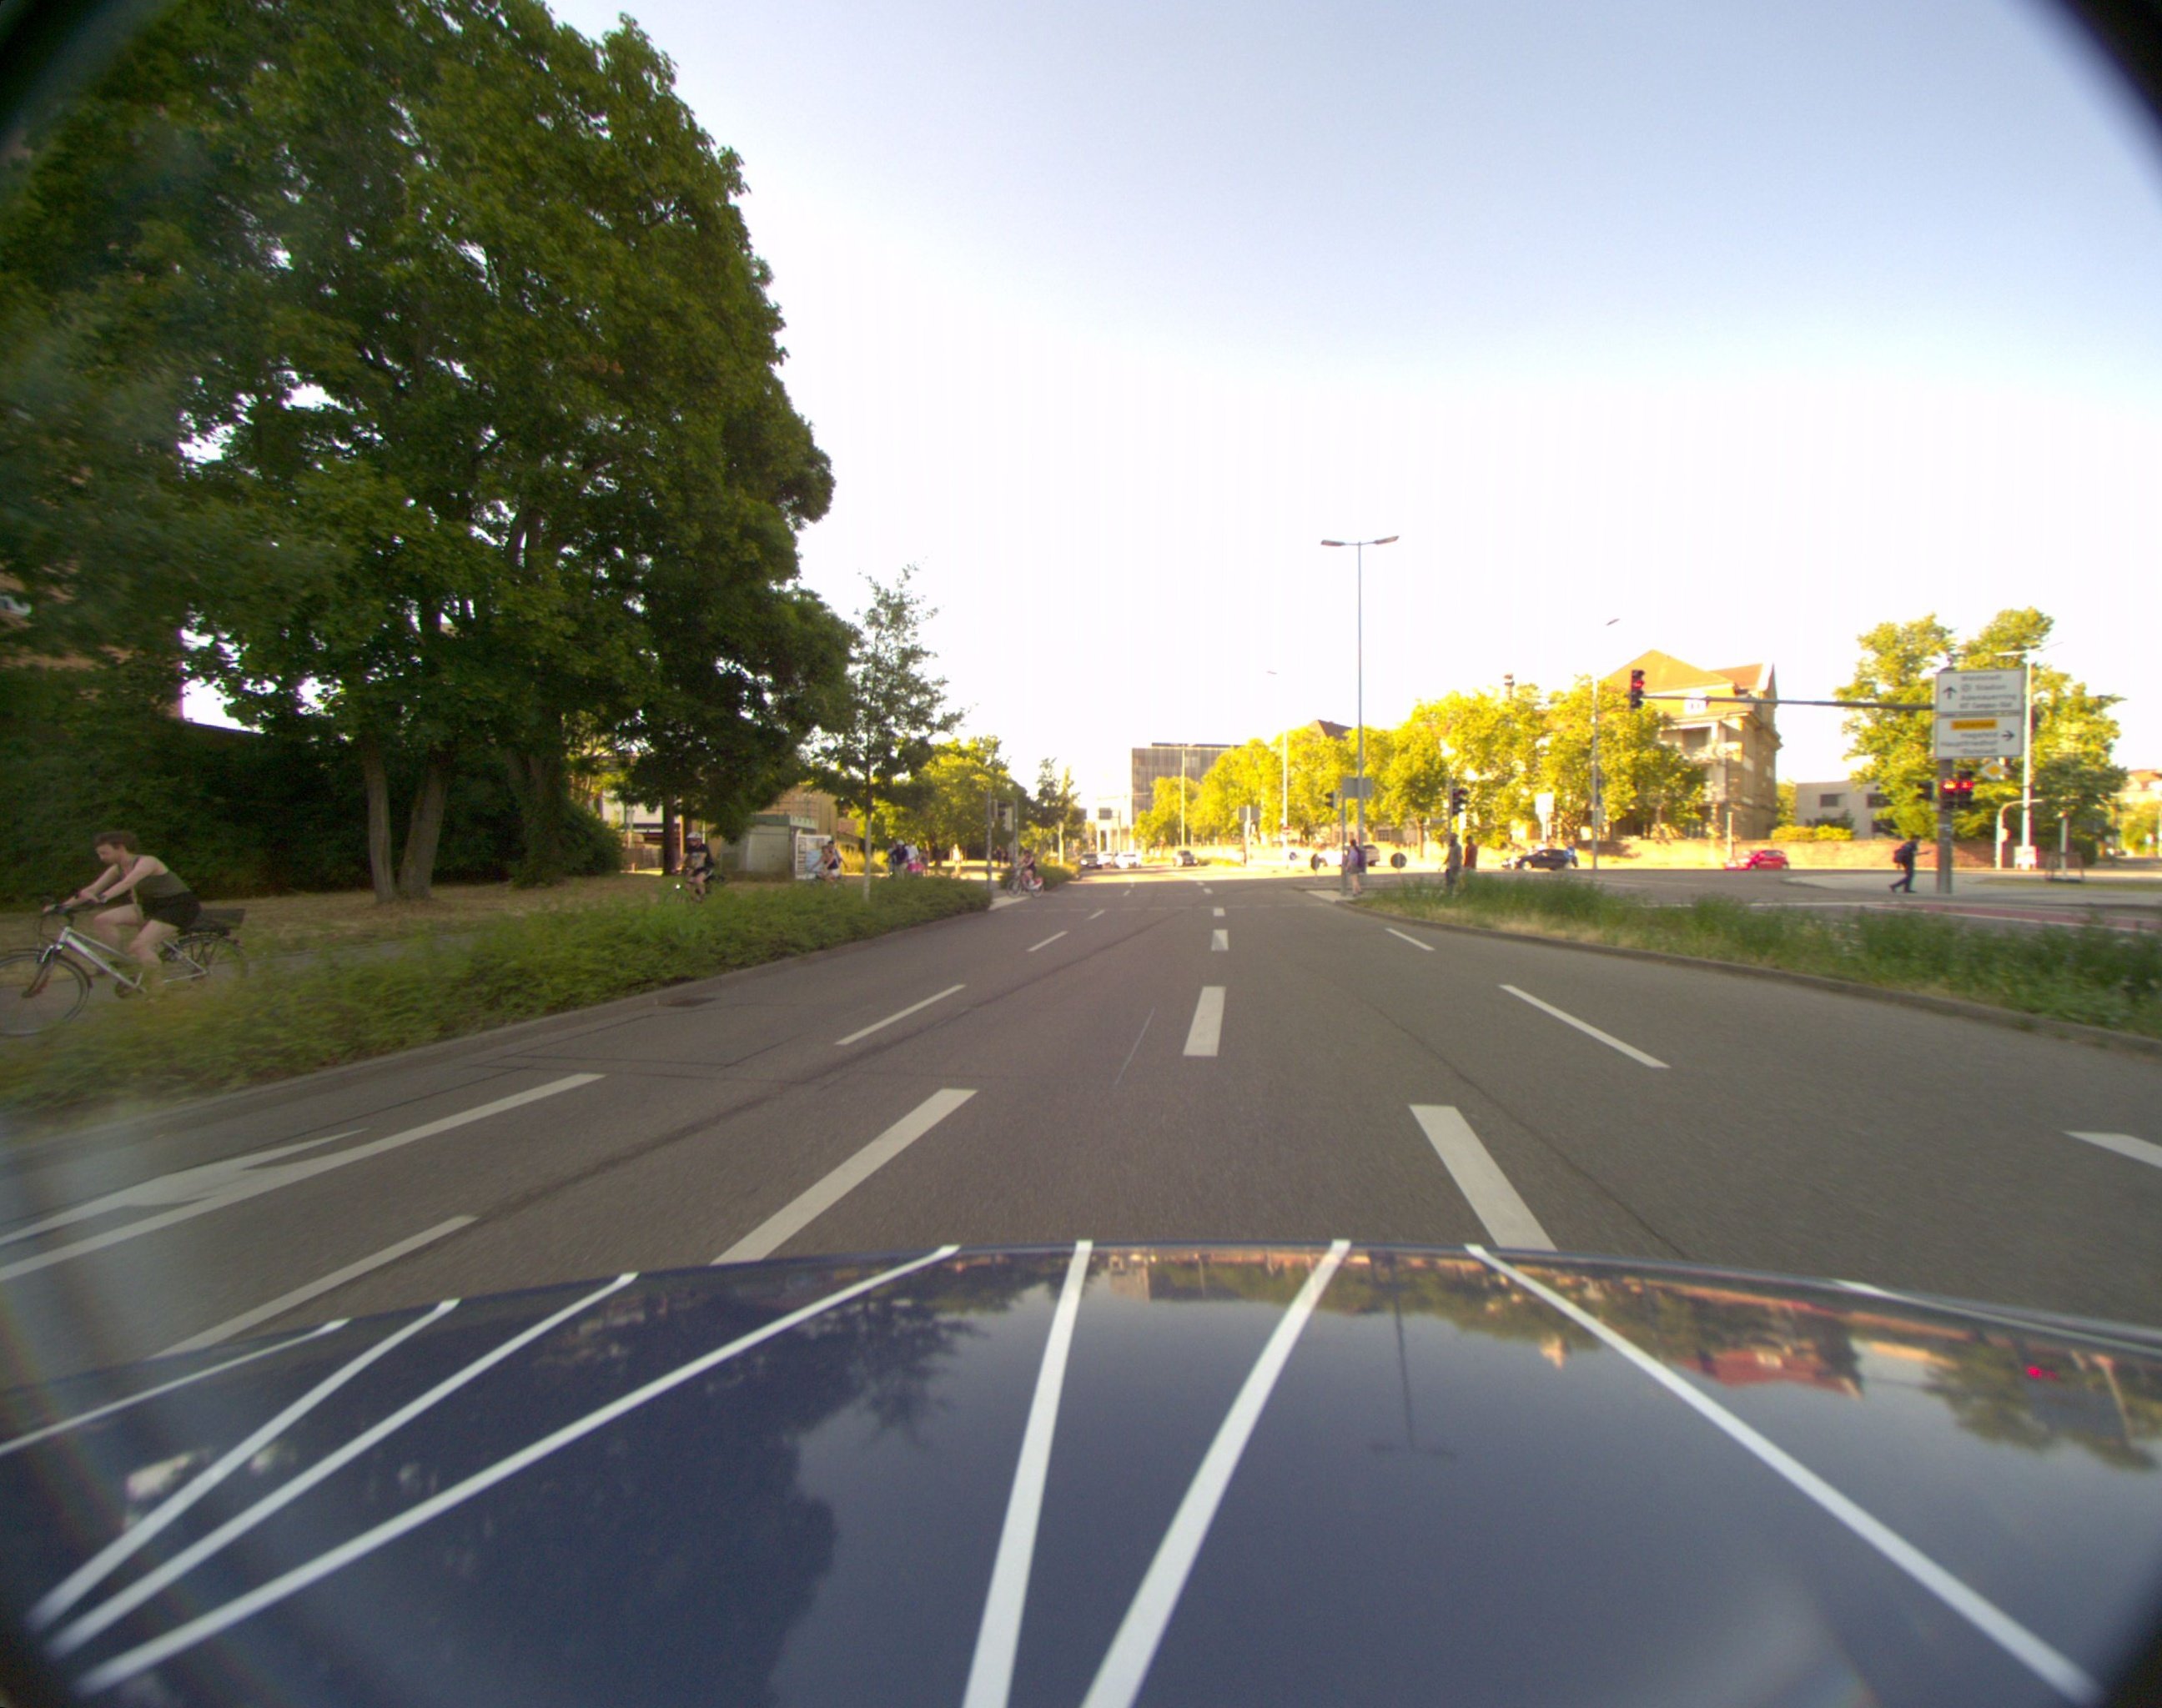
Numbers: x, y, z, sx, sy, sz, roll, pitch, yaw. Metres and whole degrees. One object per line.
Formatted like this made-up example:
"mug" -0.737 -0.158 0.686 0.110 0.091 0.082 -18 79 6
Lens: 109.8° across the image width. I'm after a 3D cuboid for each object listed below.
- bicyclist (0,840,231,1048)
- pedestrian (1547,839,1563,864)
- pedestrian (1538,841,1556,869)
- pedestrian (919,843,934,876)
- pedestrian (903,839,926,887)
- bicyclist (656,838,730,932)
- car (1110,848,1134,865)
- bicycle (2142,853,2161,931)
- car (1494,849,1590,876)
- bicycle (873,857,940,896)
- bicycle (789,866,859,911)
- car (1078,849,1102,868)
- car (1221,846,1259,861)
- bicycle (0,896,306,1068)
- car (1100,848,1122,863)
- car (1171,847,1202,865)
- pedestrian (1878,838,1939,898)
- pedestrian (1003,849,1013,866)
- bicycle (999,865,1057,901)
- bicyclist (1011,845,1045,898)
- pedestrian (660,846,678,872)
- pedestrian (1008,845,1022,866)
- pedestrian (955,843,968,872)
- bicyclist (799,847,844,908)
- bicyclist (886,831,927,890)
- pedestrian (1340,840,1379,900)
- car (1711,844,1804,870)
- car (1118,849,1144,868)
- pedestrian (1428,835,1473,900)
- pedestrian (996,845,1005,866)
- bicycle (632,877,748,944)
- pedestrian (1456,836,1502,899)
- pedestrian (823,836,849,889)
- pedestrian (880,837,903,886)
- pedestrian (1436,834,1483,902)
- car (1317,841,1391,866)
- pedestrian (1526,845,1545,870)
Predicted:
"bicyclist" -8.586 0.728 6.772 0.779 1.668 1.093 3 2 6
"pedestrian" 32.396 -0.207 51.910 0.791 1.644 0.714 3 5 36
"pedestrian" 31.533 0.064 51.449 0.870 1.884 0.713 1 5 20
"pedestrian" -7.397 0.266 36.368 0.622 1.565 0.639 0 1 -6
"pedestrian" -6.469 0.351 29.542 0.624 1.859 0.575 -1 2 -45
"bicyclist" -7.811 0.602 15.344 0.779 1.820 1.094 0 1 13
"car" 3.906 0.226 73.006 1.924 1.510 4.016 0 1 -3
"bicycle" 17.527 0.624 11.009 0.741 1.248 2.556 -1 1 1
"car" 28.626 0.521 47.276 4.602 1.576 2.196 -1 -1 1
"bicycle" -5.535 0.694 24.288 0.779 1.149 2.584 0 1 21
"bicycle" -6.677 0.877 19.841 0.718 1.114 1.872 -1 -1 20
"car" 0.699 0.388 63.665 1.802 1.510 3.998 0 1 -3
"car" 17.134 -0.081 82.083 2.158 1.611 4.355 0 1 -18
"bicycle" -8.651 1.053 6.879 0.779 1.149 2.292 3 2 6
"car" 3.114 0.166 79.654 1.924 1.510 4.016 0 1 -3
"car" 9.073 0.162 65.756 1.924 1.510 4.016 0 1 -3
"pedestrian" 23.483 0.381 21.577 0.898 1.675 0.748 0 1 10
"pedestrian" -6.792 0.313 70.608 0.763 1.534 0.846 0 1 -12
"bicycle" -1.810 0.975 26.222 0.717 1.115 2.070 -1 1 42
"bicyclist" -1.813 0.583 26.215 0.715 1.778 0.851 -1 1 42
"pedestrian" -32.301 0.408 59.602 0.899 2.002 0.868 0 1 0
"pedestrian" -5.434 0.120 62.738 1.019 1.739 0.849 0 1 -12
"pedestrian" -6.926 0.185 44.028 0.676 1.694 0.876 0 1 -11
"bicyclist" -6.730 0.620 19.723 0.716 1.539 0.851 -1 -1 20
"bicyclist" -5.556 0.207 24.210 0.779 1.823 1.095 0 1 21
"pedestrian" 8.085 0.450 22.082 0.926 1.731 0.757 0 1 10
"car" 43.707 0.186 49.133 4.608 1.576 2.193 0 -1 -12
"car" 4.276 0.347 65.677 1.802 1.510 4.430 0 1 -3
"pedestrian" 10.103 0.358 20.805 0.926 1.731 0.757 0 1 10
"pedestrian" -6.624 0.113 62.346 0.712 1.703 0.733 0 1 -6
"bicycle" -7.814 1.081 15.332 0.779 1.149 2.293 0 1 13
"pedestrian" 11.155 0.361 21.317 0.926 1.731 0.788 0 1 10
"pedestrian" -7.902 0.283 24.531 0.622 1.689 0.630 0 1 3
"pedestrian" -7.340 0.281 29.447 0.624 1.859 0.575 -1 2 -45
"pedestrian" 9.951 0.361 20.018 0.926 1.731 0.757 0 1 10
"car" 19.472 -0.009 54.413 2.199 1.673 4.596 0 -1 -30
"pedestrian" 30.515 0.220 51.026 0.870 1.665 0.713 1 5 20
